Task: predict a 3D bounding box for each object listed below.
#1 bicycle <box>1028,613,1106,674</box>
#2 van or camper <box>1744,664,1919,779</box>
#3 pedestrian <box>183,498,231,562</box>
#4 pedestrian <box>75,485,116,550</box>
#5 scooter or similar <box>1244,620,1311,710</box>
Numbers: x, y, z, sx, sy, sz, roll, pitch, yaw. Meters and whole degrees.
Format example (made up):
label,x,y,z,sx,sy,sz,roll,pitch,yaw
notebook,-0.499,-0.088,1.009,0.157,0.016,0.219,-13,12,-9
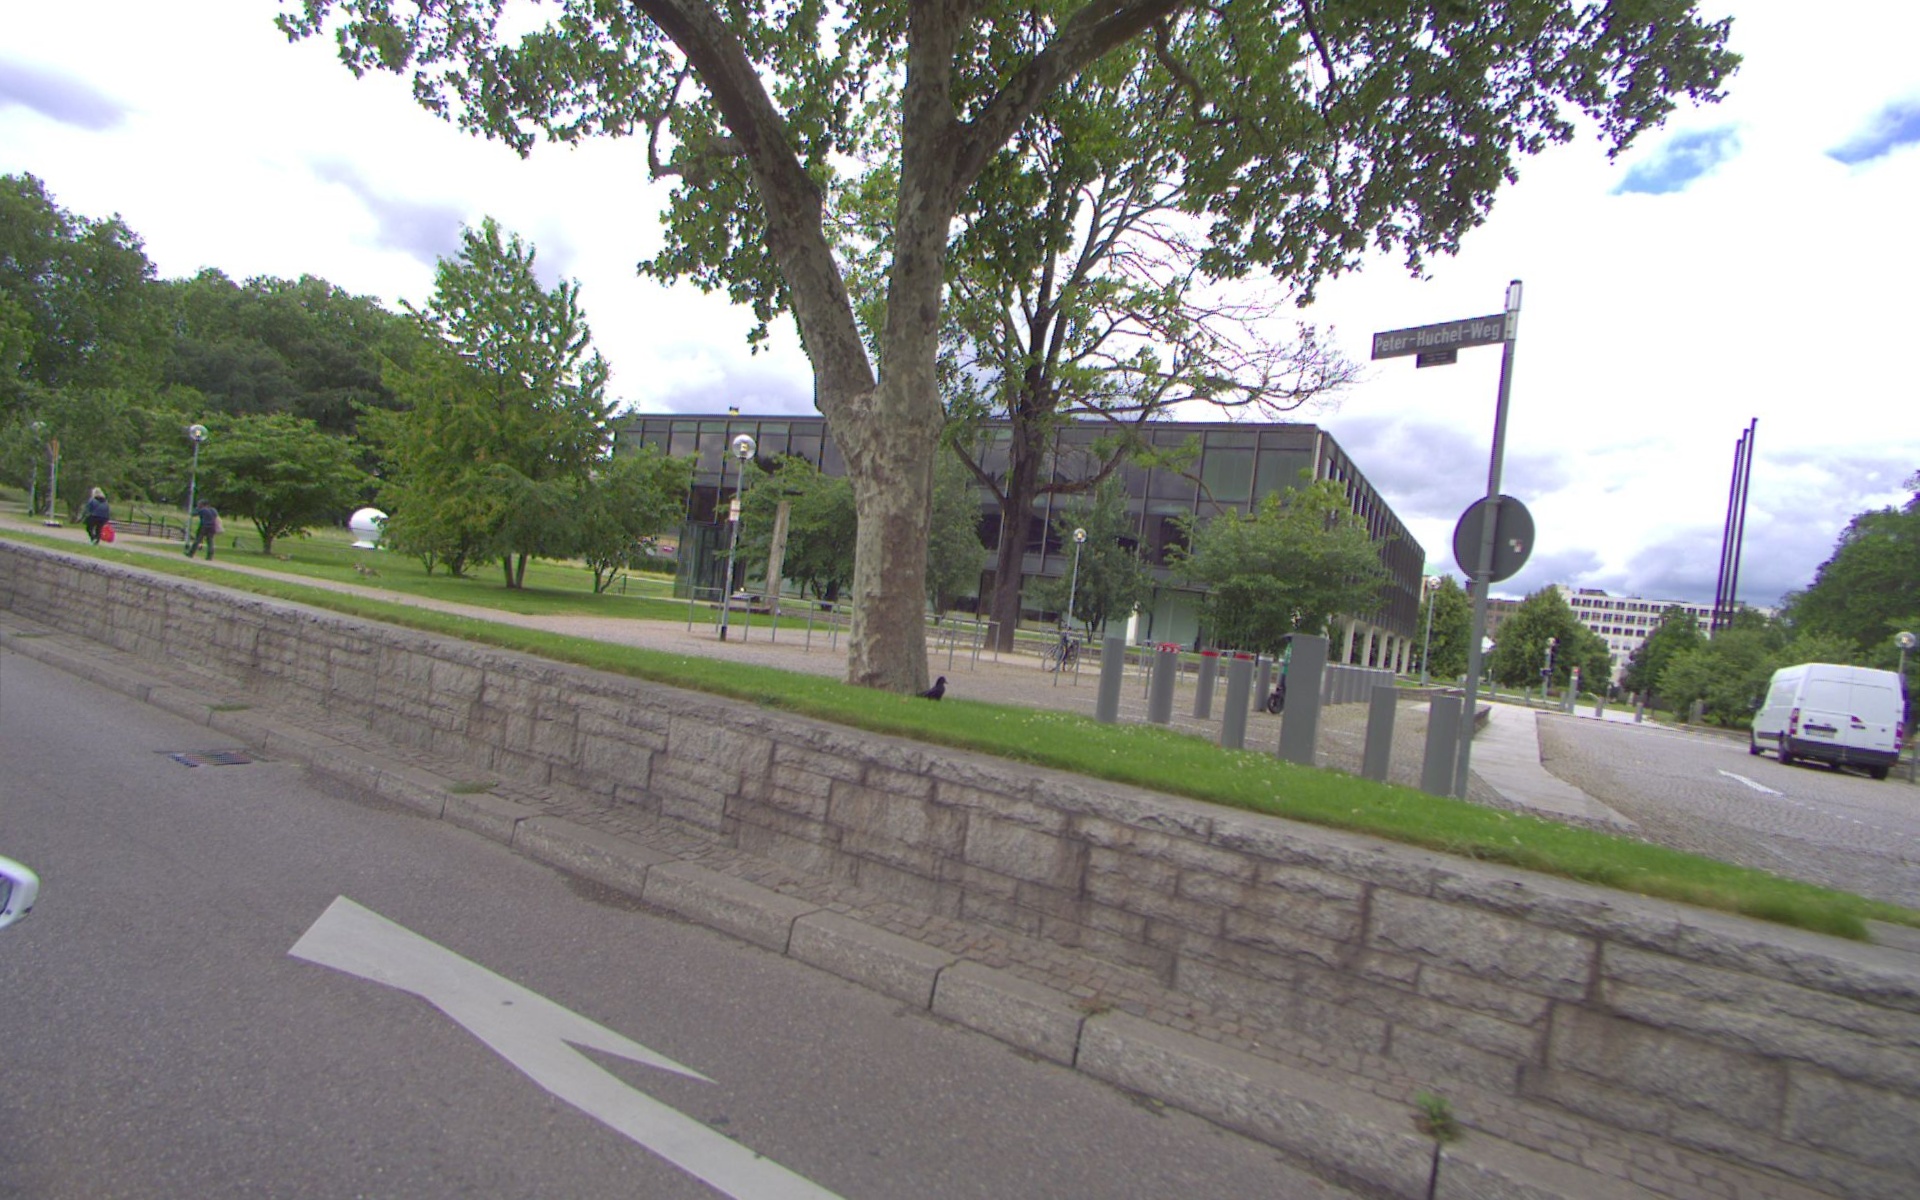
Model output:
label,x,y,z,sx,sy,sz,roll,pitch,yaw
bicycle,2.329,0.959,21.624,0.674,1.155,2.194,7,0,31
van or camper,21.893,3.024,25.498,2.282,2.346,5.709,5,-3,31
pedestrian,-20.680,-1.921,27.627,0.617,1.646,0.801,8,1,39
pedestrian,-22.692,-2.162,26.414,0.680,1.581,0.898,6,1,-41
scooter or similar,4.917,1.013,15.552,0.716,1.260,0.718,6,-3,30
